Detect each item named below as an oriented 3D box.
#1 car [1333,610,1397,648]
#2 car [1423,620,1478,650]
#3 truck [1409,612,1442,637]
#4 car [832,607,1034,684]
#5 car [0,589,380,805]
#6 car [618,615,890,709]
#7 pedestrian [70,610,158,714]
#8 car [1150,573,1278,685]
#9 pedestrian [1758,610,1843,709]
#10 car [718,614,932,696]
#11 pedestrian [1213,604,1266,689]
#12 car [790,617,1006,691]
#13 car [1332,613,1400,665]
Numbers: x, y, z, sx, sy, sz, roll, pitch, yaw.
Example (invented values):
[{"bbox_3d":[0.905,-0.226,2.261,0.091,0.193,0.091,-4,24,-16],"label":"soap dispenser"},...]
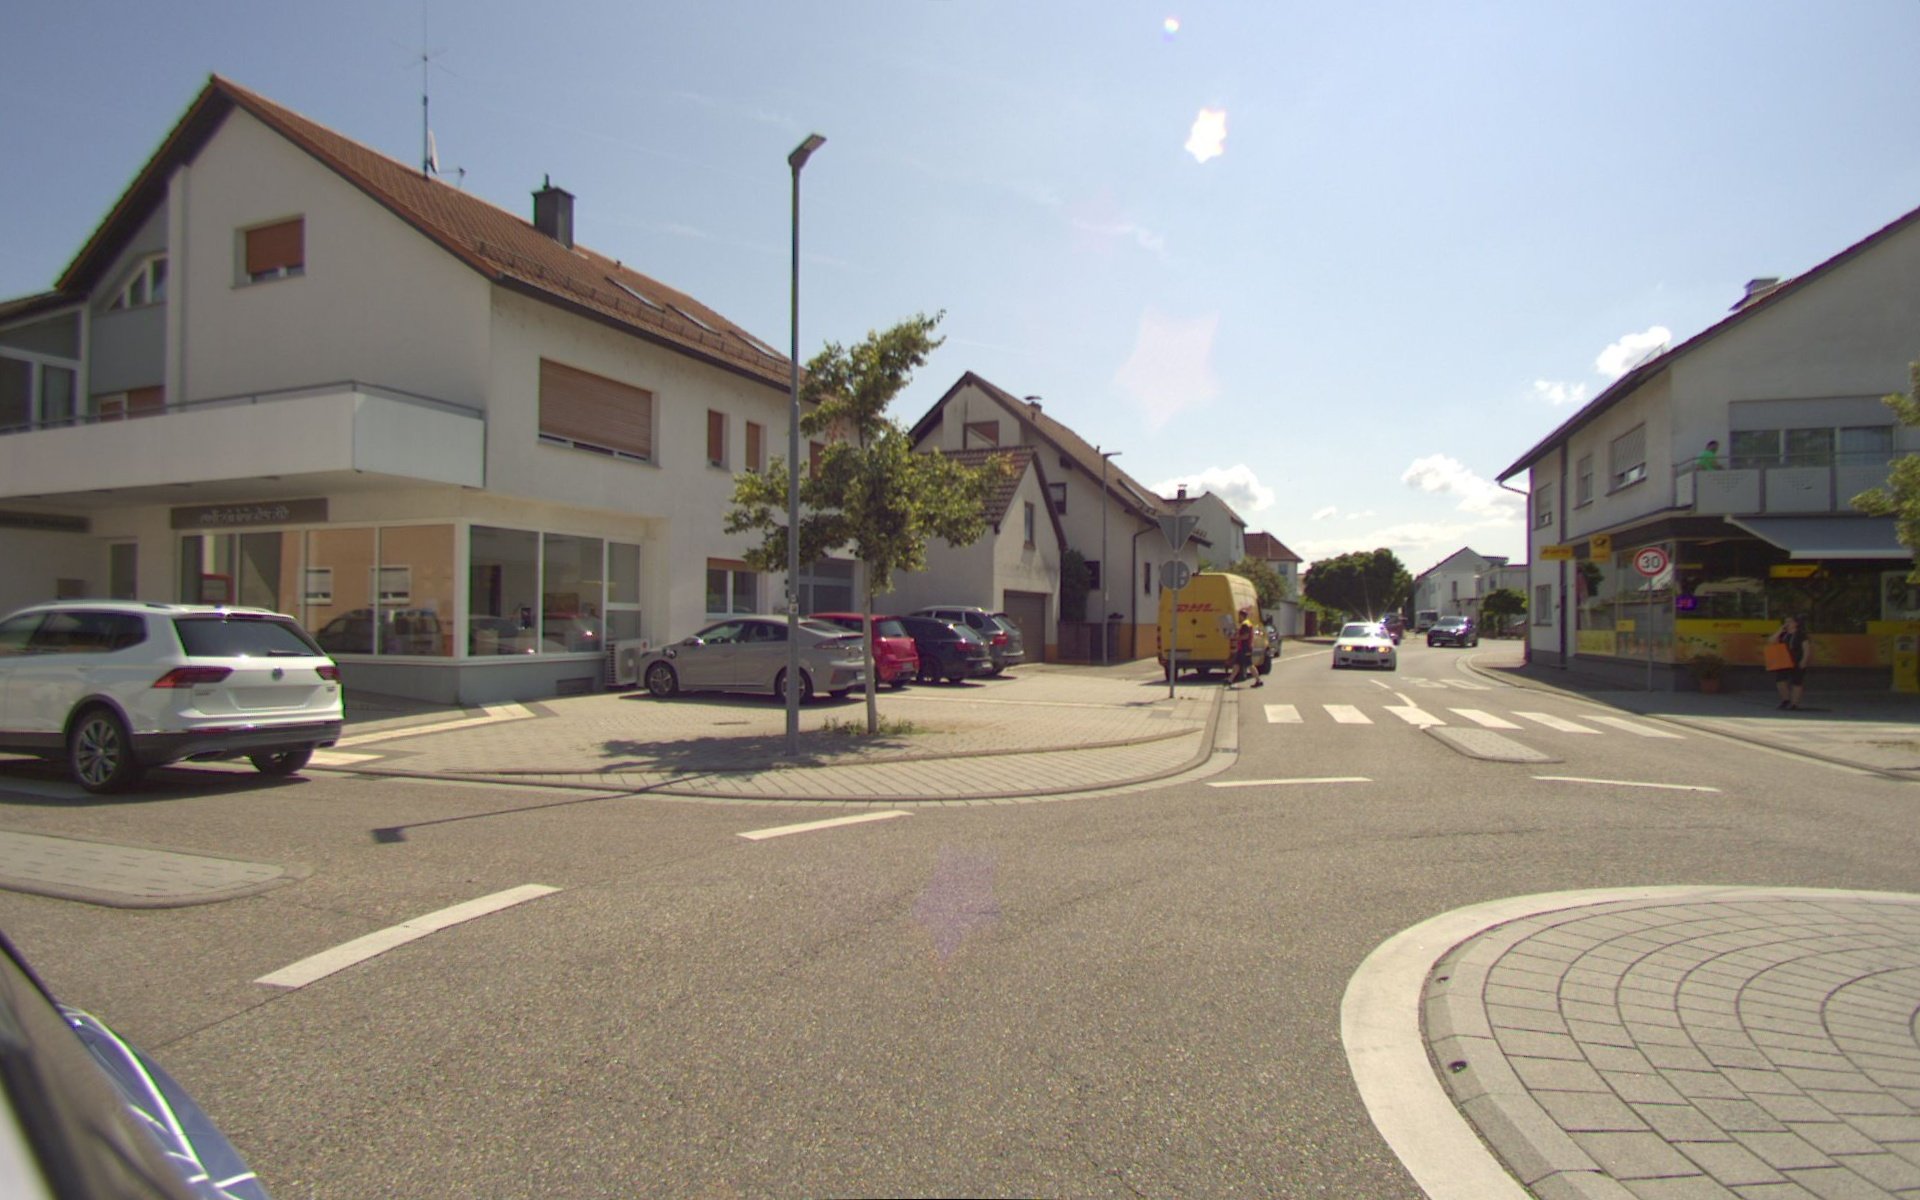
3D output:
[{"bbox_3d":[21.591,1.508,53.871,1.874,1.847,3.917,-1,0,43],"label":"car"},{"bbox_3d":[26.330,1.855,54.247,1.877,1.361,4.362,1,1,37],"label":"car"},{"bbox_3d":[46.837,2.465,101.870,2.228,2.469,5.835,0,-1,17],"label":"truck"},{"bbox_3d":[-0.675,1.087,25.499,4.716,1.752,1.973,0,-1,22],"label":"car"},{"bbox_3d":[-8.102,0.823,9.714,4.506,1.723,1.860,0,-3,19],"label":"car"},{"bbox_3d":[-3.634,1.017,17.871,4.447,1.461,1.823,0,-1,22],"label":"car"},{"bbox_3d":[-13.622,0.972,16.300,0.951,1.595,0.751,0,1,24],"label":"pedestrian"},{"bbox_3d":[6.768,0.760,26.463,2.102,2.592,5.633,-1,-2,26],"label":"car"},{"bbox_3d":[14.058,0.976,16.934,0.865,1.601,0.752,0,-2,-24],"label":"pedestrian"},{"bbox_3d":[-2.701,1.040,20.318,3.936,1.488,1.740,0,-1,22],"label":"car"},{"bbox_3d":[6.240,1.035,22.597,1.016,1.839,0.778,-2,-1,21],"label":"pedestrian"},{"bbox_3d":[-1.378,1.140,22.450,4.447,1.461,1.823,0,-1,22],"label":"car"},{"bbox_3d":[12.821,1.172,32.020,1.868,1.460,4.302,0,0,22],"label":"car"}]
